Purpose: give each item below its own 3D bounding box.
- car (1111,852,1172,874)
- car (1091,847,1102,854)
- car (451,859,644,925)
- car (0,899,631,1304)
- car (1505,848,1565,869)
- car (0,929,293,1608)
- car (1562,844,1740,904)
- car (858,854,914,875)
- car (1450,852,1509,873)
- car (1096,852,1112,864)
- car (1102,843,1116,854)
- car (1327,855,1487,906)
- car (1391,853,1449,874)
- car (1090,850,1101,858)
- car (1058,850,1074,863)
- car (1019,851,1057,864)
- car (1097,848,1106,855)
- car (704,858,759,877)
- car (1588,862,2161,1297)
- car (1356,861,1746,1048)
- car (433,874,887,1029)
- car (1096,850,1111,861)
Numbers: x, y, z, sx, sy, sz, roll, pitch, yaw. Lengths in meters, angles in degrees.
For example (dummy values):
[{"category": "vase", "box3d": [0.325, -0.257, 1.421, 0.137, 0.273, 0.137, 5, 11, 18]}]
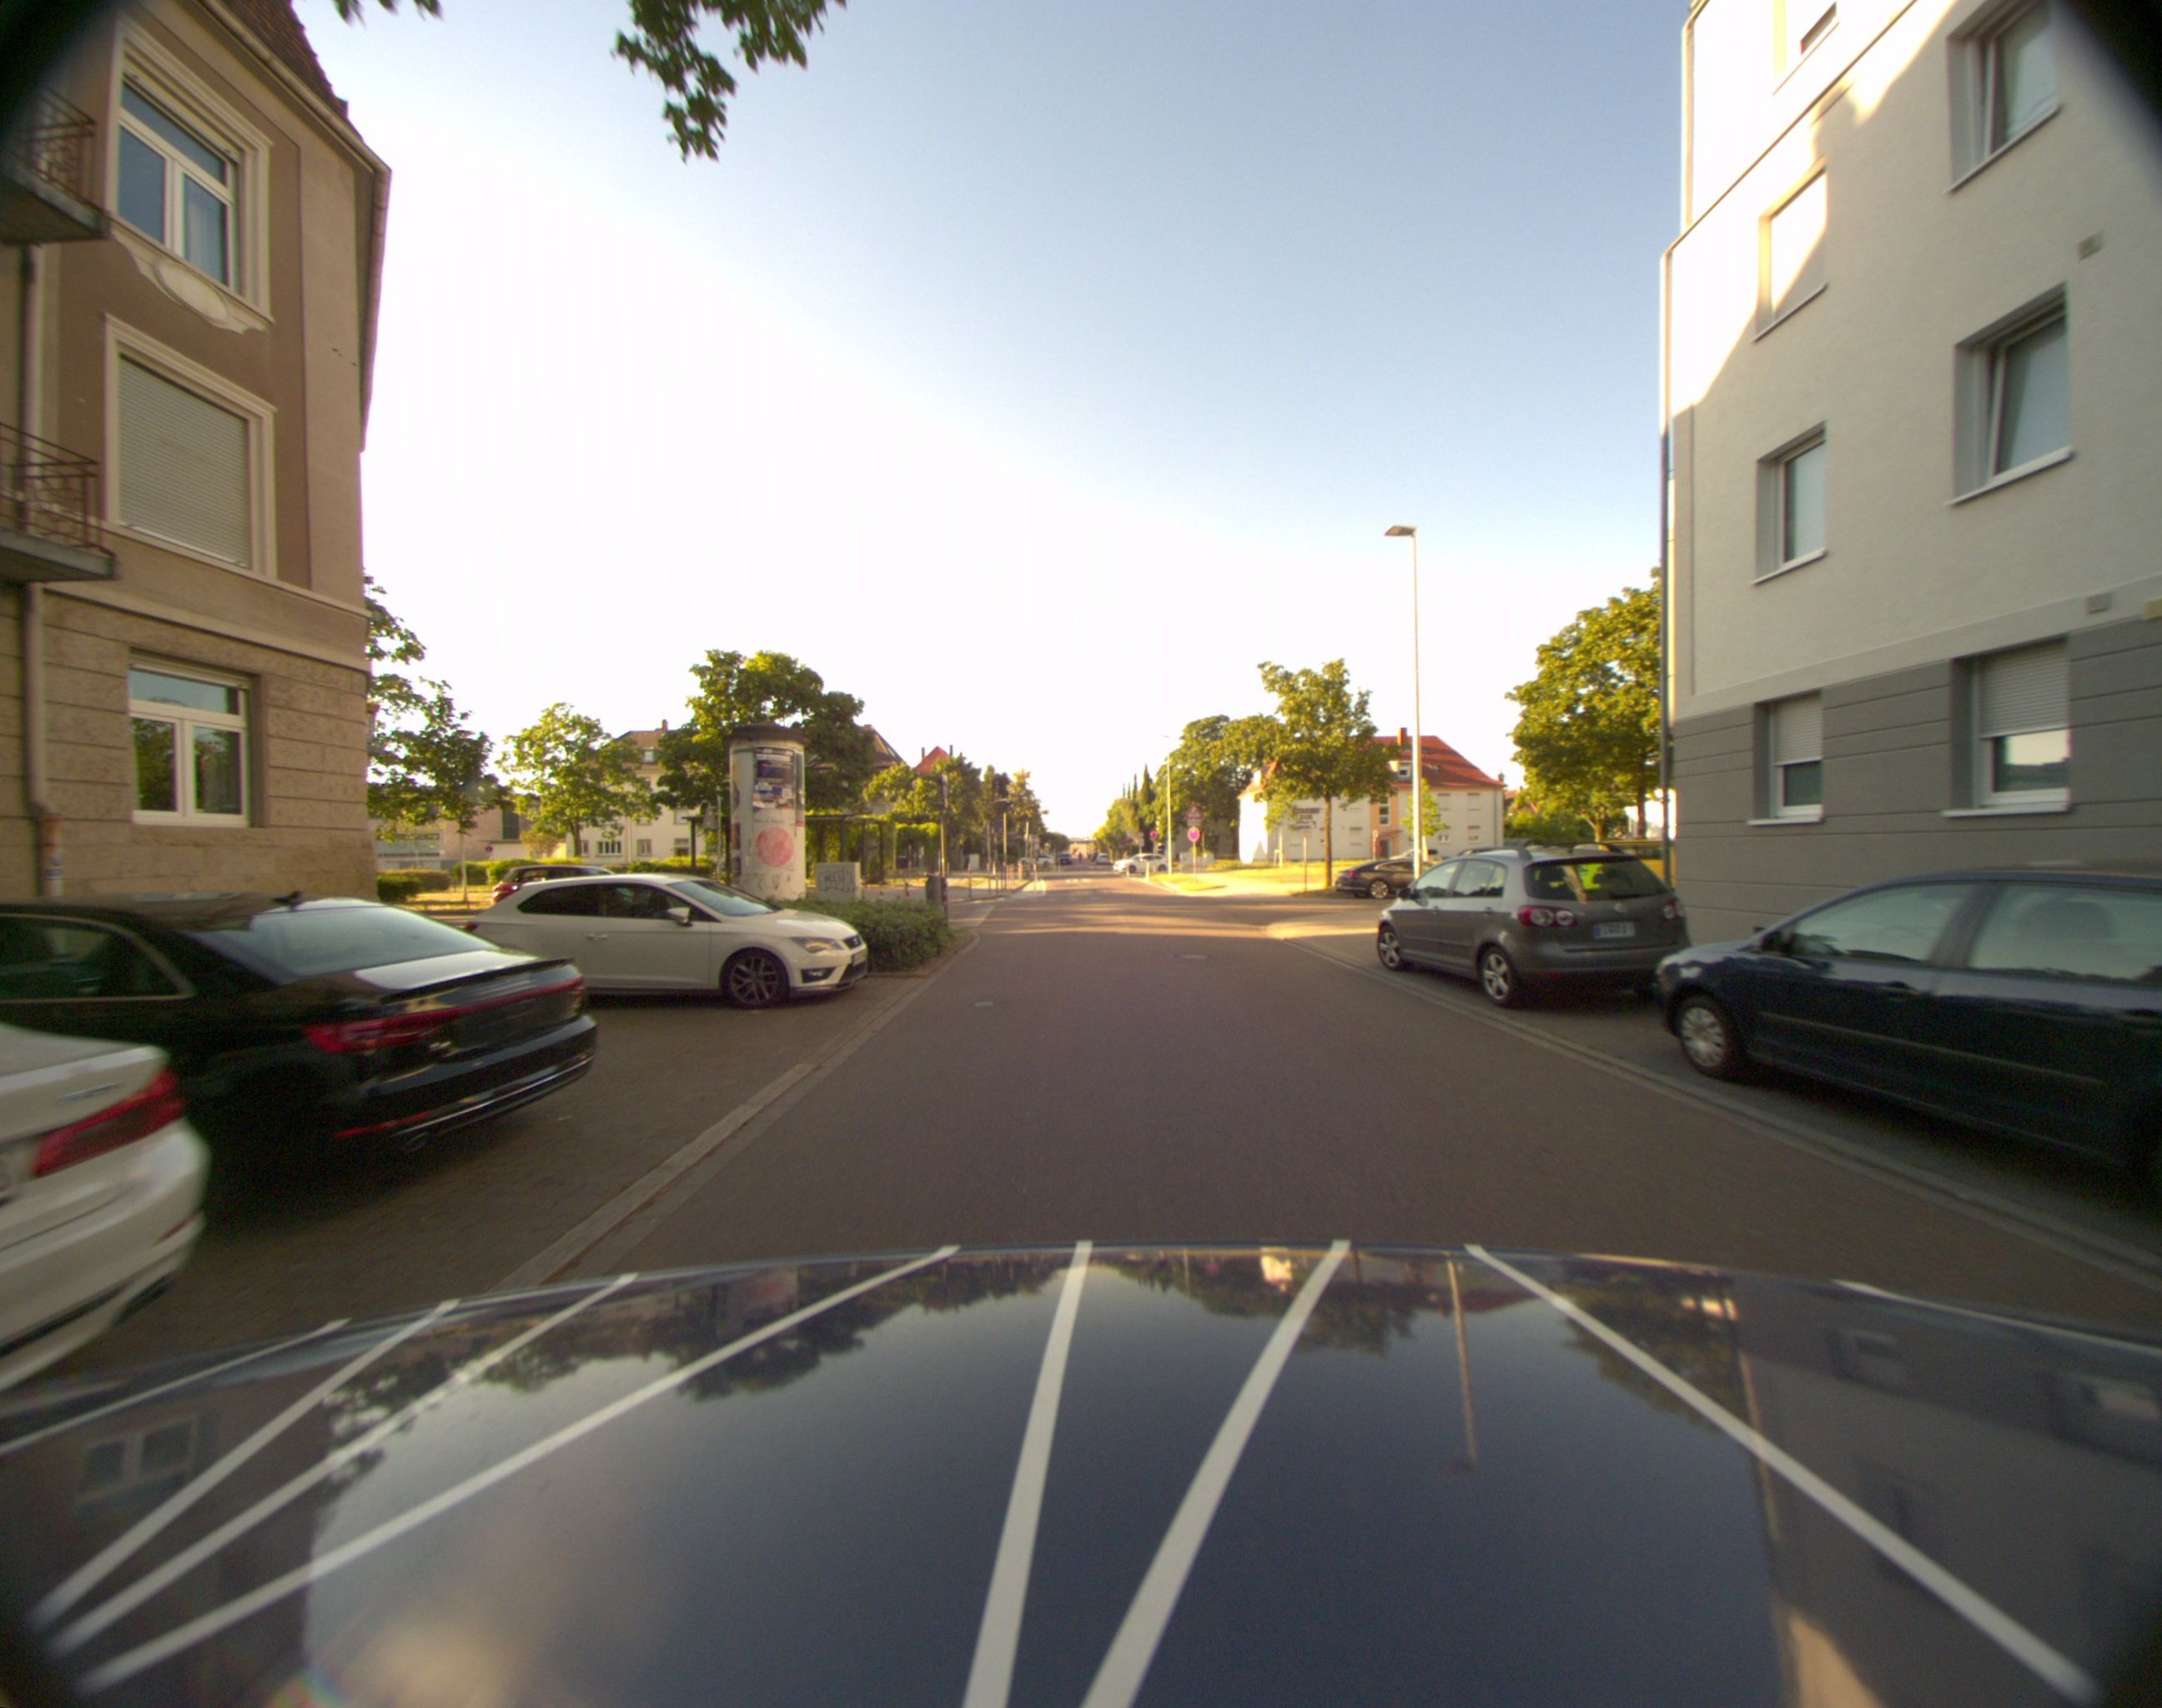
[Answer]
[{"category": "car", "box3d": [4.724, 0.707, 59.027, 4.305, 1.685, 1.868, 0, -1, -23]}, {"category": "car", "box3d": [3.306, -0.747, 164.236, 1.971, 1.604, 4.246, -1, 0, -2]}, {"category": "car", "box3d": [-14.830, 1.045, 21.298, 4.085, 1.730, 1.812, -1, -2, -2]}, {"category": "car", "box3d": [-4.807, 1.008, 3.749, 4.153, 1.439, 1.673, 1, 0, -1]}, {"category": "car", "box3d": [38.159, 0.426, 63.916, 3.998, 1.685, 1.851, -1, -1, -2]}, {"category": "car", "box3d": [-4.709, 0.960, 1.267, 4.490, 1.516, 1.953, 1, -1, -6]}, {"category": "car", "box3d": [19.929, 0.733, 26.728, 4.691, 2.001, 2.034, -1, -3, -1]}, {"category": "car", "box3d": [-16.268, 0.889, 63.629, 4.214, 1.631, 1.823, -1, -2, -2]}, {"category": "car", "box3d": [33.598, 0.766, 64.100, 3.998, 1.685, 1.851, -1, -1, -2]}, {"category": "car", "box3d": [3.136, 0.504, 104.415, 1.970, 1.604, 4.246, -1, 0, -1]}, {"category": "car", "box3d": [4.281, -0.828, 118.538, 1.970, 1.604, 4.246, -1, 0, -1]}, {"category": "car", "box3d": [11.341, 0.895, 26.630, 4.835, 1.659, 1.788, -1, 1, 1]}, {"category": "car", "box3d": [28.493, 0.793, 63.932, 3.998, 1.685, 1.851, -1, -1, -2]}, {"category": "car", "box3d": [2.833, 0.038, 148.857, 1.970, 1.604, 4.246, -1, 0, -1]}, {"category": "car", "box3d": [-2.057, 0.324, 102.833, 1.971, 1.604, 4.245, -1, 0, -4]}, {"category": "car", "box3d": [-5.612, 0.441, 98.918, 4.835, 1.604, 1.971, 0, 1, -2]}, {"category": "car", "box3d": [4.755, -0.674, 180.772, 1.970, 1.604, 4.246, -1, 0, -1]}, {"category": "car", "box3d": [-29.475, 1.117, 64.169, 3.757, 1.509, 1.735, -1, 1, 0]}, {"category": "car", "box3d": [4.972, 0.868, 3.906, 1.889, 1.581, 4.089, -1, 0, -2]}, {"category": "car", "box3d": [4.954, 0.915, 8.831, 1.889, 1.581, 4.089, -1, 0, -2]}, {"category": "car", "box3d": [-4.456, 1.004, 8.567, 4.059, 1.496, 1.861, 0, 0, -1]}, {"category": "car", "box3d": [3.302, 0.155, 112.666, 1.970, 1.604, 4.246, -1, 0, -1]}]
